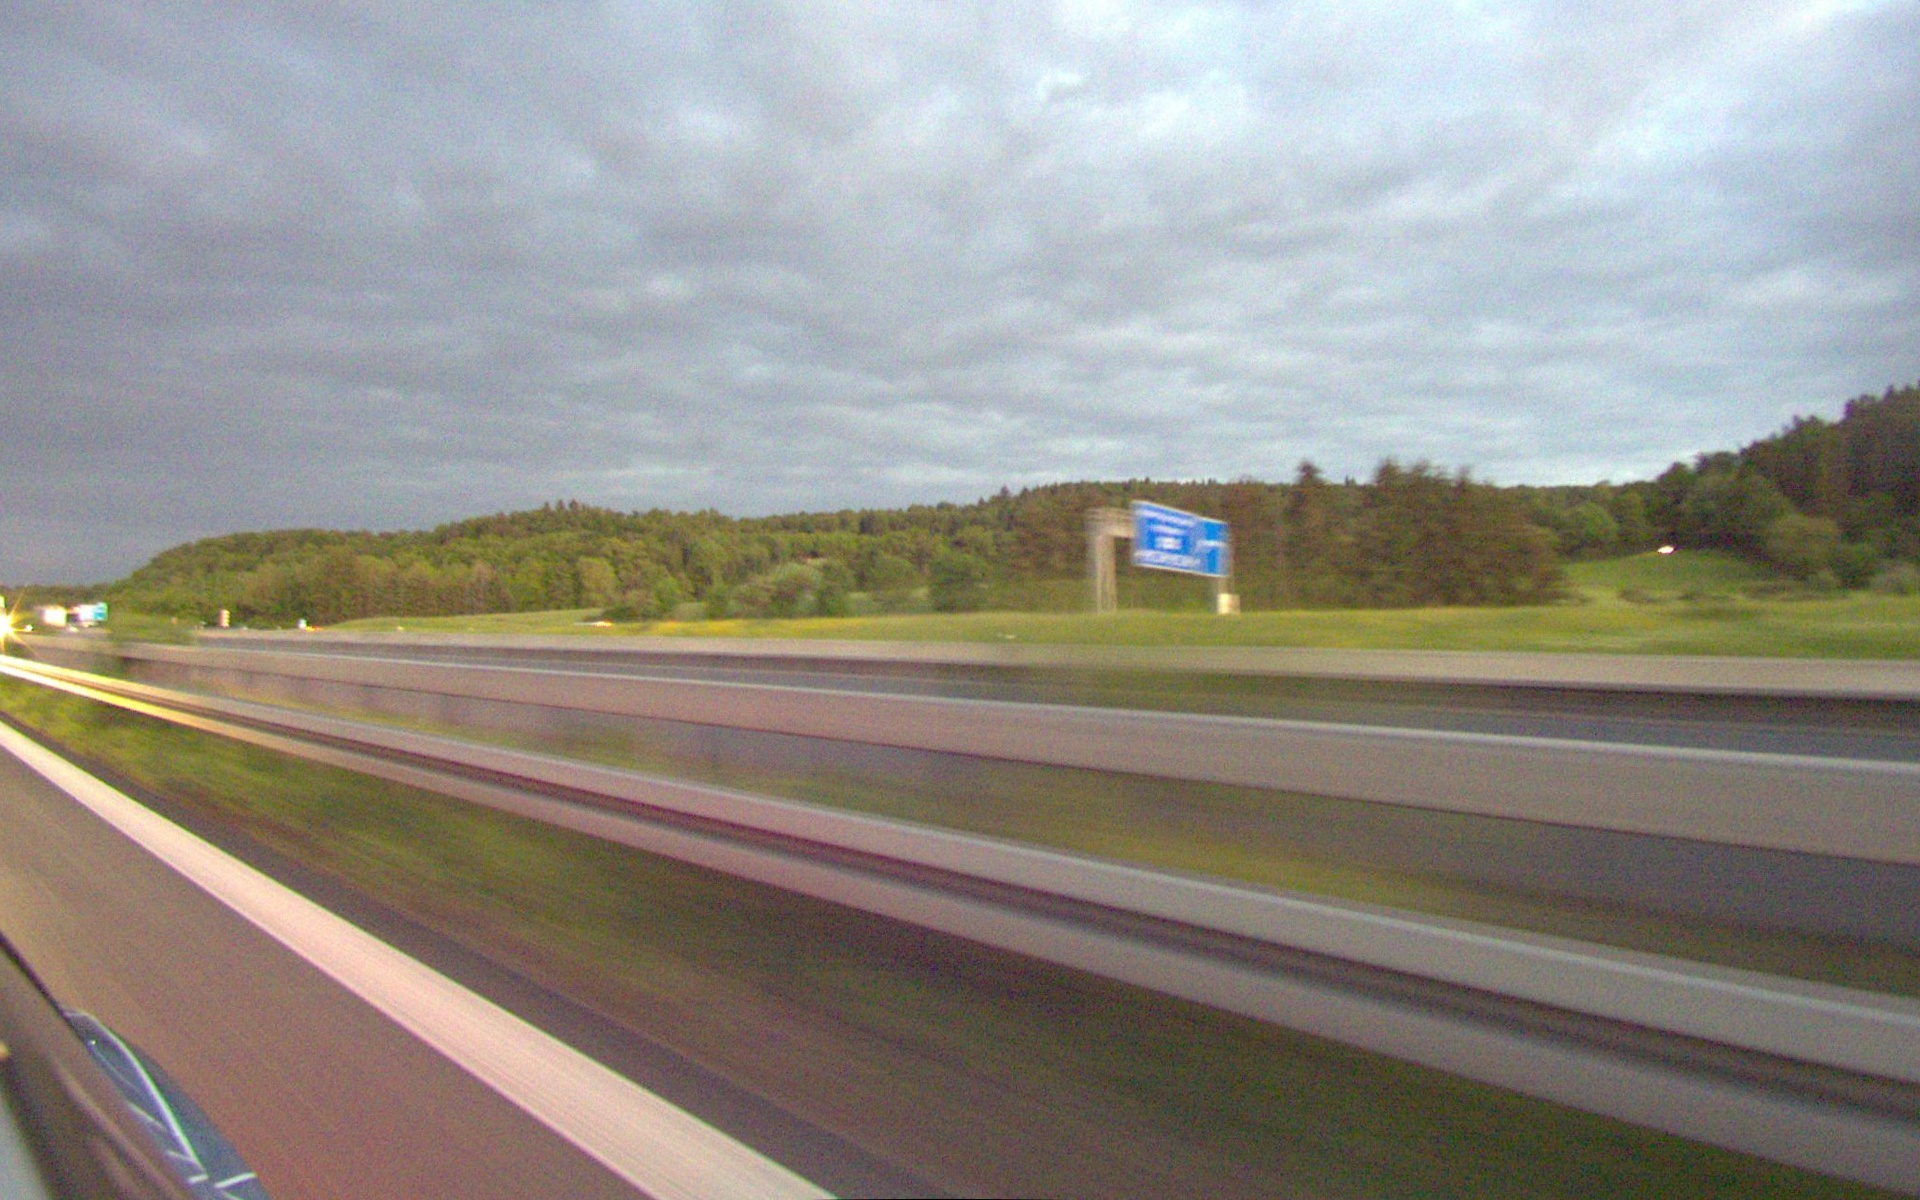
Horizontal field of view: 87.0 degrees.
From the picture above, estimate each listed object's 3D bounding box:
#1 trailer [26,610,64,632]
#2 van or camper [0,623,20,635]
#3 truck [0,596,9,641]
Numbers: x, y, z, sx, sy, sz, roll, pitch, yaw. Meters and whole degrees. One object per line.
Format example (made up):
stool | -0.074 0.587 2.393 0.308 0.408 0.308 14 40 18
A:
trailer | -162.975 3.775 180.228 13.878 3.794 3.292 -1 -3 41
van or camper | -168.271 5.135 179.272 5.536 1.921 1.871 -1 -2 40
truck | -97.326 1.851 100.588 9.886 4.334 3.006 -1 -3 41
